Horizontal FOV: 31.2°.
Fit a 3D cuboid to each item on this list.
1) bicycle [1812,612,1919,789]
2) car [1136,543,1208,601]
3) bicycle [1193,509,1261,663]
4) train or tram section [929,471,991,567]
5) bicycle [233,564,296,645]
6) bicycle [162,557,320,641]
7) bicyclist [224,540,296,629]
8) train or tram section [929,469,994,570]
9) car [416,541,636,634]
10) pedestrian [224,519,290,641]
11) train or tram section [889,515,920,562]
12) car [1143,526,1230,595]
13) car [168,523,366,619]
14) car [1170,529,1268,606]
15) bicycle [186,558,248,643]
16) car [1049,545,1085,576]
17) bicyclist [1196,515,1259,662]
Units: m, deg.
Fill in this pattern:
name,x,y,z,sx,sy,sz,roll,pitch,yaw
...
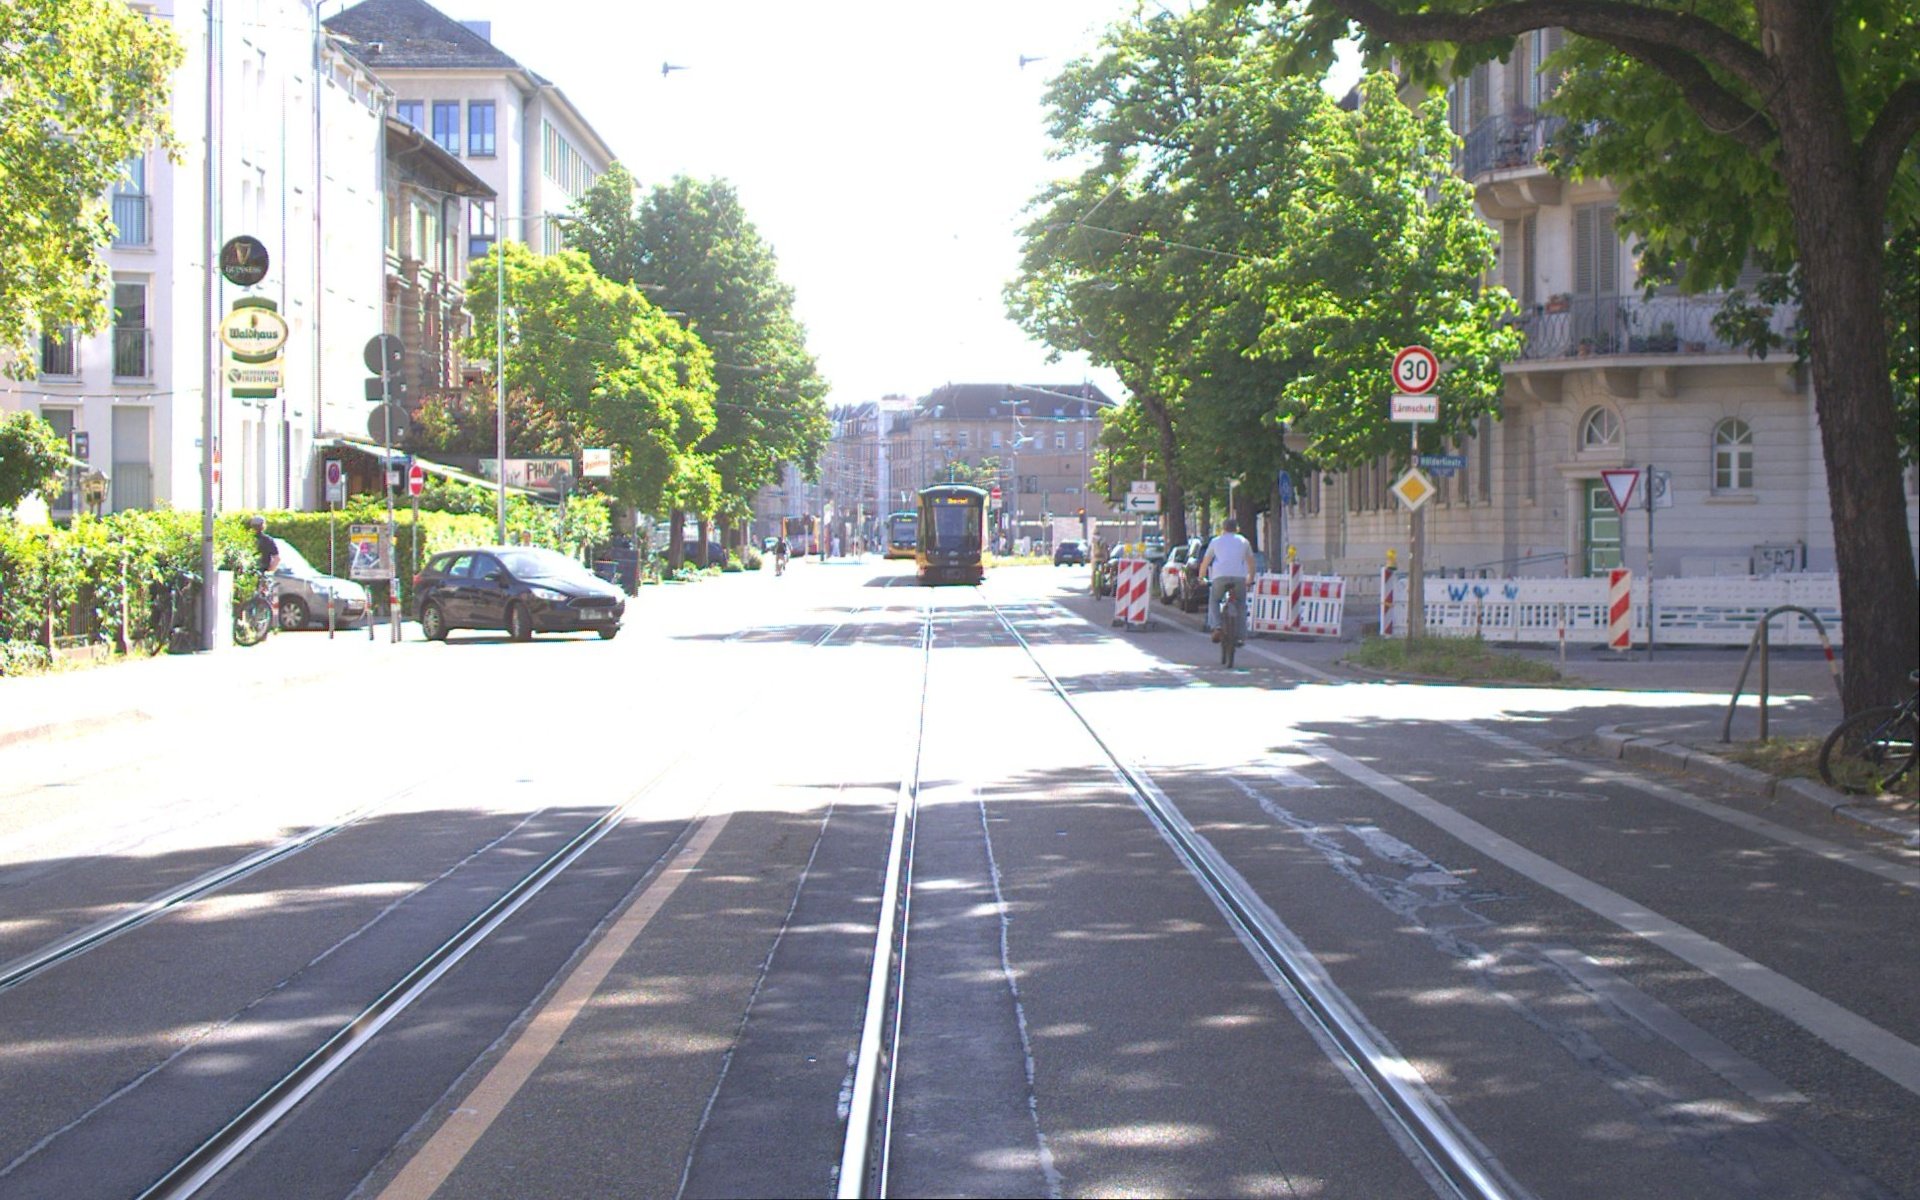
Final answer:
name,x,y,z,sx,sy,sz,roll,pitch,yaw
bicycle,5.765,0.599,20.420,1.270,1.020,0.704,2,0,8
car,6.030,-0.811,97.981,1.754,1.546,3.677,1,1,-1
bicycle,3.325,-0.194,42.911,0.663,1.853,2.260,1,1,1
train or tram section,-0.042,-2.995,127.553,2.153,3.420,6.612,1,1,-1
bicycle,-9.626,0.051,47.542,0.632,1.065,1.832,1,1,-18
bicycle,-10.618,-0.026,50.781,2.141,1.167,0.802,2,1,15
bicyclist,-10.328,-0.234,50.731,0.772,1.287,0.733,2,1,16
train or tram section,0.017,-2.833,120.918,2.153,3.420,6.612,1,1,-1
car,-6.852,-0.186,54.094,1.755,1.415,3.578,0,0,-41
pedestrian,-9.984,-0.288,48.859,0.770,1.706,0.669,1,1,0
train or tram section,-4.140,-4.626,256.771,2.153,3.420,6.612,1,1,-1
car,5.341,-0.945,81.413,1.754,1.546,3.677,1,1,-1
car,-12.450,-0.527,61.894,3.409,1.634,1.673,1,1,-9
car,5.491,-0.703,73.262,1.754,1.546,3.677,1,1,-1
bicycle,-9.851,-0.003,45.564,0.632,1.065,1.832,1,1,-17
car,6.105,-2.252,195.965,1.872,1.657,3.515,1,1,-1
bicyclist,3.309,-0.153,42.595,0.645,1.789,0.956,1,1,-1
